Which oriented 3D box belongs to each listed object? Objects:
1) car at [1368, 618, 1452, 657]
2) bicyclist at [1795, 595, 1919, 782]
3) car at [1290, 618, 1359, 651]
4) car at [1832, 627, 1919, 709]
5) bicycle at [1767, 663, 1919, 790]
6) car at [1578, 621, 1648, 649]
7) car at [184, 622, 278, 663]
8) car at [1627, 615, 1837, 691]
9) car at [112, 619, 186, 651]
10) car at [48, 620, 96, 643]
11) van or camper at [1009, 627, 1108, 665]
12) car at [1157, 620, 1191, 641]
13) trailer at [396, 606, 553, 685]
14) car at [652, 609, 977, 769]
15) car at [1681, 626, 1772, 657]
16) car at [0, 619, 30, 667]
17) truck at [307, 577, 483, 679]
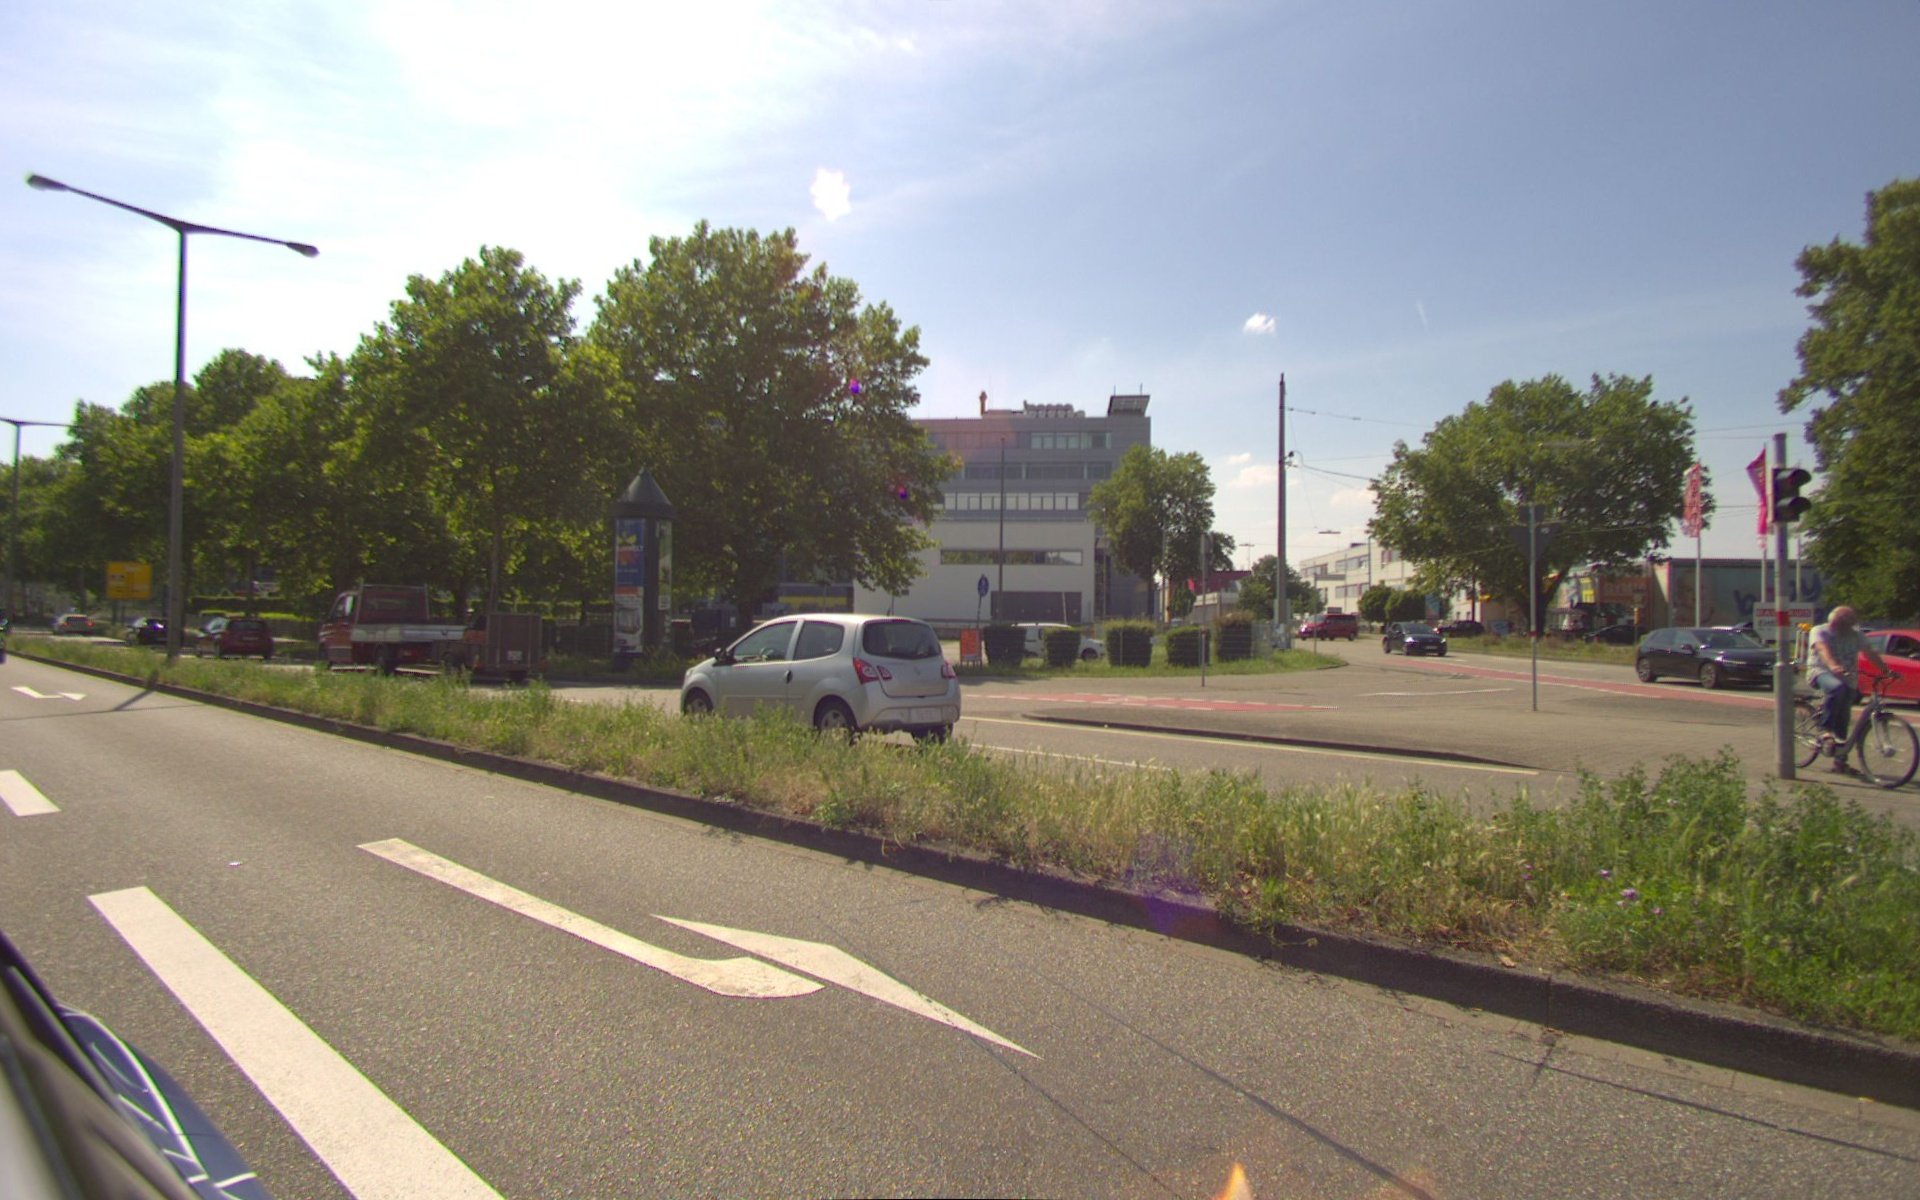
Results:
[{"bbox_3d":[20.355,1.681,45.947,1.972,1.712,4.000,0,-2,-1],"label":"car"},{"bbox_3d":[9.065,0.861,10.198,0.698,1.802,0.765,0,-2,12],"label":"bicyclist"},{"bbox_3d":[26.534,2.490,73.649,4.956,2.295,2.158,1,-2,-34],"label":"car"},{"bbox_3d":[18.013,1.220,17.944,1.824,1.460,3.993,0,-2,5],"label":"car"},{"bbox_3d":[9.071,1.211,10.197,0.520,1.072,2.157,0,-1,11],"label":"bicycle"},{"bbox_3d":[48.434,2.593,75.161,3.973,2.029,1.985,0,-2,22],"label":"car"},{"bbox_3d":[-26.915,1.576,37.329,3.762,1.445,1.830,-2,-4,38],"label":"car"},{"bbox_3d":[18.740,1.246,24.842,1.971,1.712,4.001,0,-2,-2],"label":"car"},{"bbox_3d":[-38.979,1.670,48.640,3.888,1.433,1.822,0,-2,37],"label":"car"},{"bbox_3d":[-59.998,2.133,68.332,4.219,1.433,1.820,-1,-4,41],"label":"car"},{"bbox_3d":[4.511,2.116,46.750,4.453,1.705,1.998,0,-1,4],"label":"van or camper"},{"bbox_3d":[17.648,2.521,83.647,1.972,1.712,4.000,0,-2,-1],"label":"car"},{"bbox_3d":[-11.647,1.040,24.185,3.990,1.729,2.040,-1,-2,42],"label":"trailer"},{"bbox_3d":[-1.751,0.890,11.529,3.734,1.525,1.632,-1,-2,41],"label":"car"},{"bbox_3d":[36.486,1.946,48.267,1.679,1.438,3.853,0,-1,6],"label":"car"},{"bbox_3d":[-29.102,1.277,29.784,1.702,1.372,4.079,0,0,-30],"label":"car"},{"bbox_3d":[-15.757,0.752,27.966,7.128,2.494,2.116,-1,-2,43],"label":"truck"}]
